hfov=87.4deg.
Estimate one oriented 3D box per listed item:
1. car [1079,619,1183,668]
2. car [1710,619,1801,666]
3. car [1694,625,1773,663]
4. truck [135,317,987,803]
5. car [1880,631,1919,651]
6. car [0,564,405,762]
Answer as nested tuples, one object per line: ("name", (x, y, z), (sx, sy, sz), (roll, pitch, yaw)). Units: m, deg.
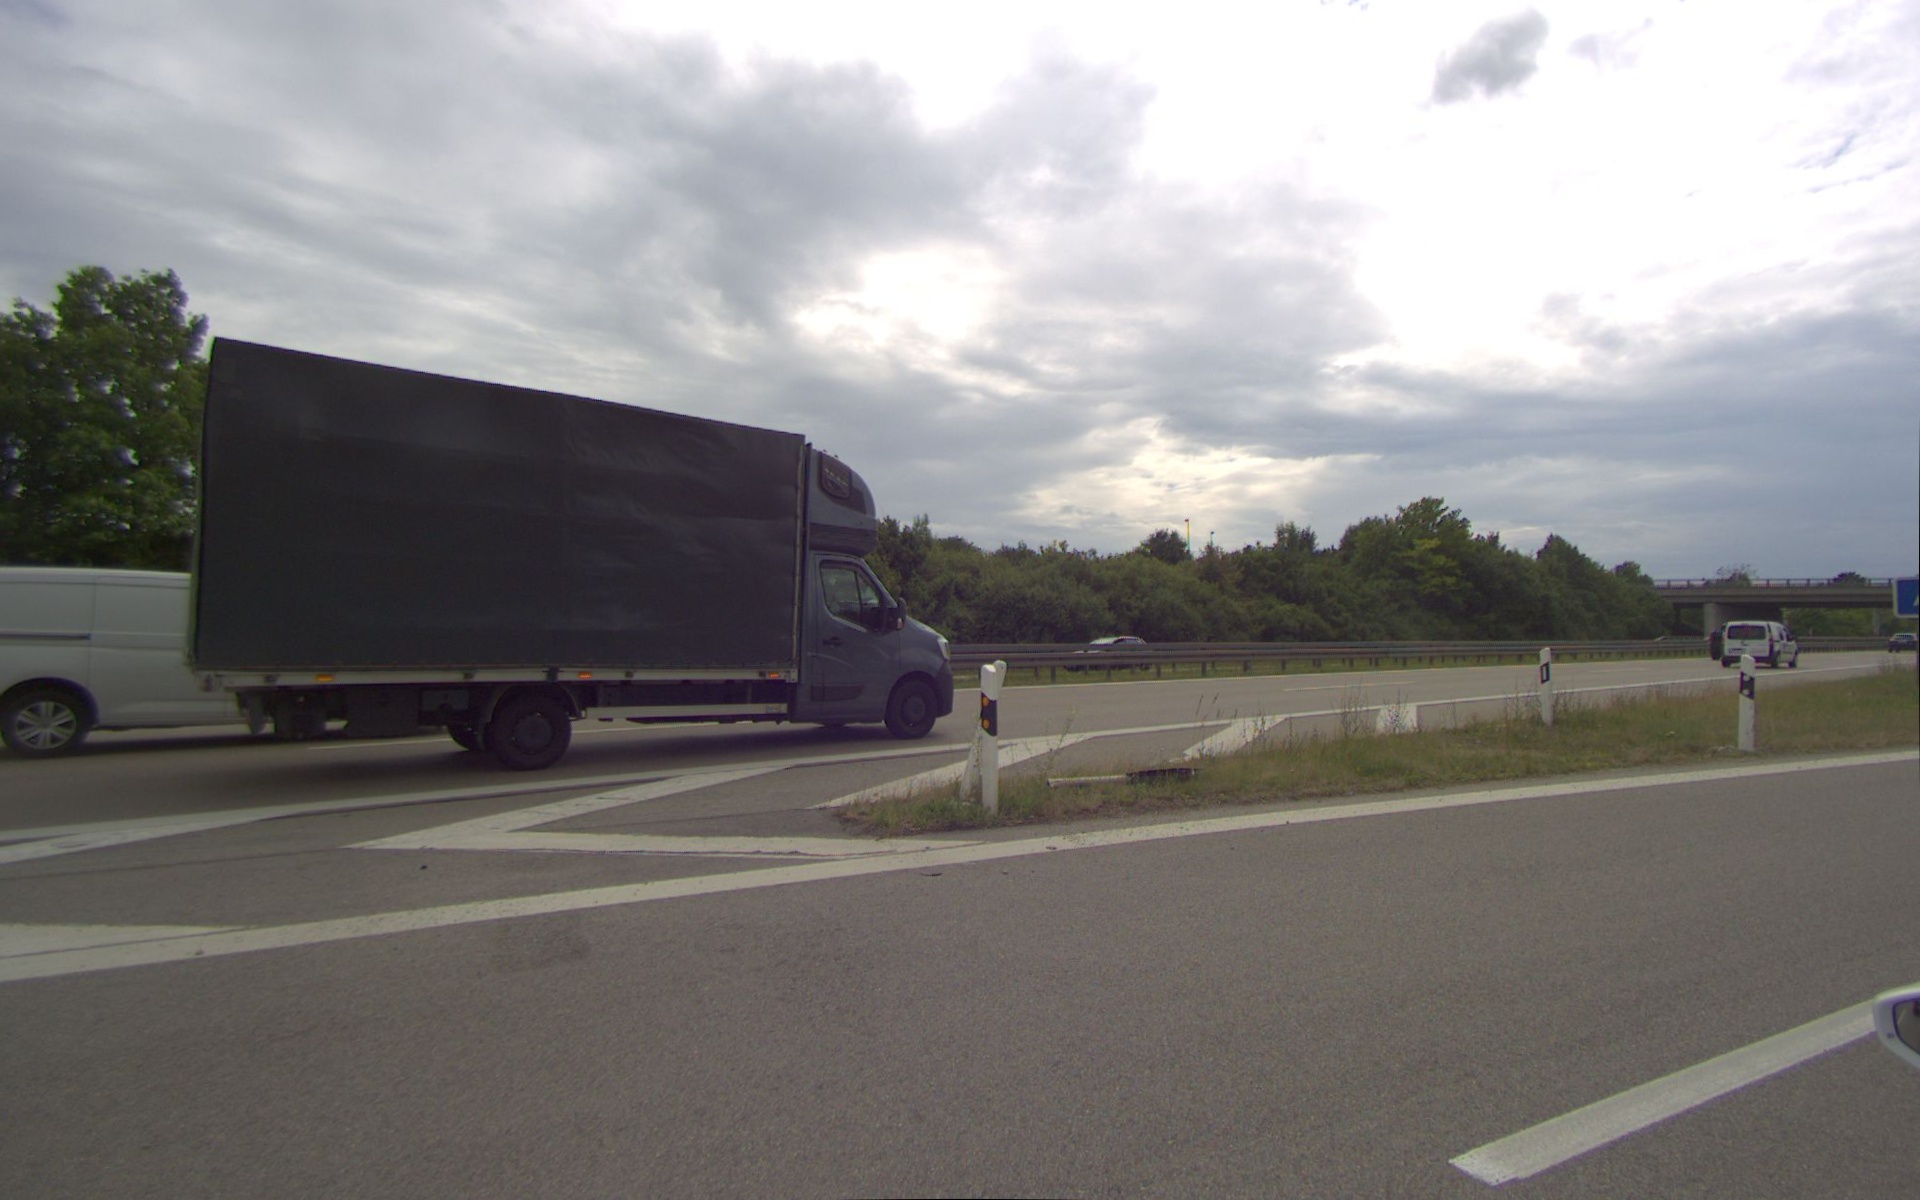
("car", (6.766, 1.698, 39.645), (3.966, 1.826, 1.978), (2, -2, -39))
("car", (31.734, 1.660, 40.043), (4.447, 1.774, 1.862), (2, -2, -38))
("car", (39.294, 2.205, 50.950), (5.365, 1.809, 1.978), (2, -2, -39))
("truck", (-3.477, -0.157, 10.514), (7.857, 3.415, 2.447), (2, -2, -40))
("car", (72.528, 3.135, 77.385), (4.756, 1.442, 1.708), (2, -2, -39))
("car", (-8.455, 0.634, 10.922), (3.965, 1.834, 1.978), (1, -2, -39))
